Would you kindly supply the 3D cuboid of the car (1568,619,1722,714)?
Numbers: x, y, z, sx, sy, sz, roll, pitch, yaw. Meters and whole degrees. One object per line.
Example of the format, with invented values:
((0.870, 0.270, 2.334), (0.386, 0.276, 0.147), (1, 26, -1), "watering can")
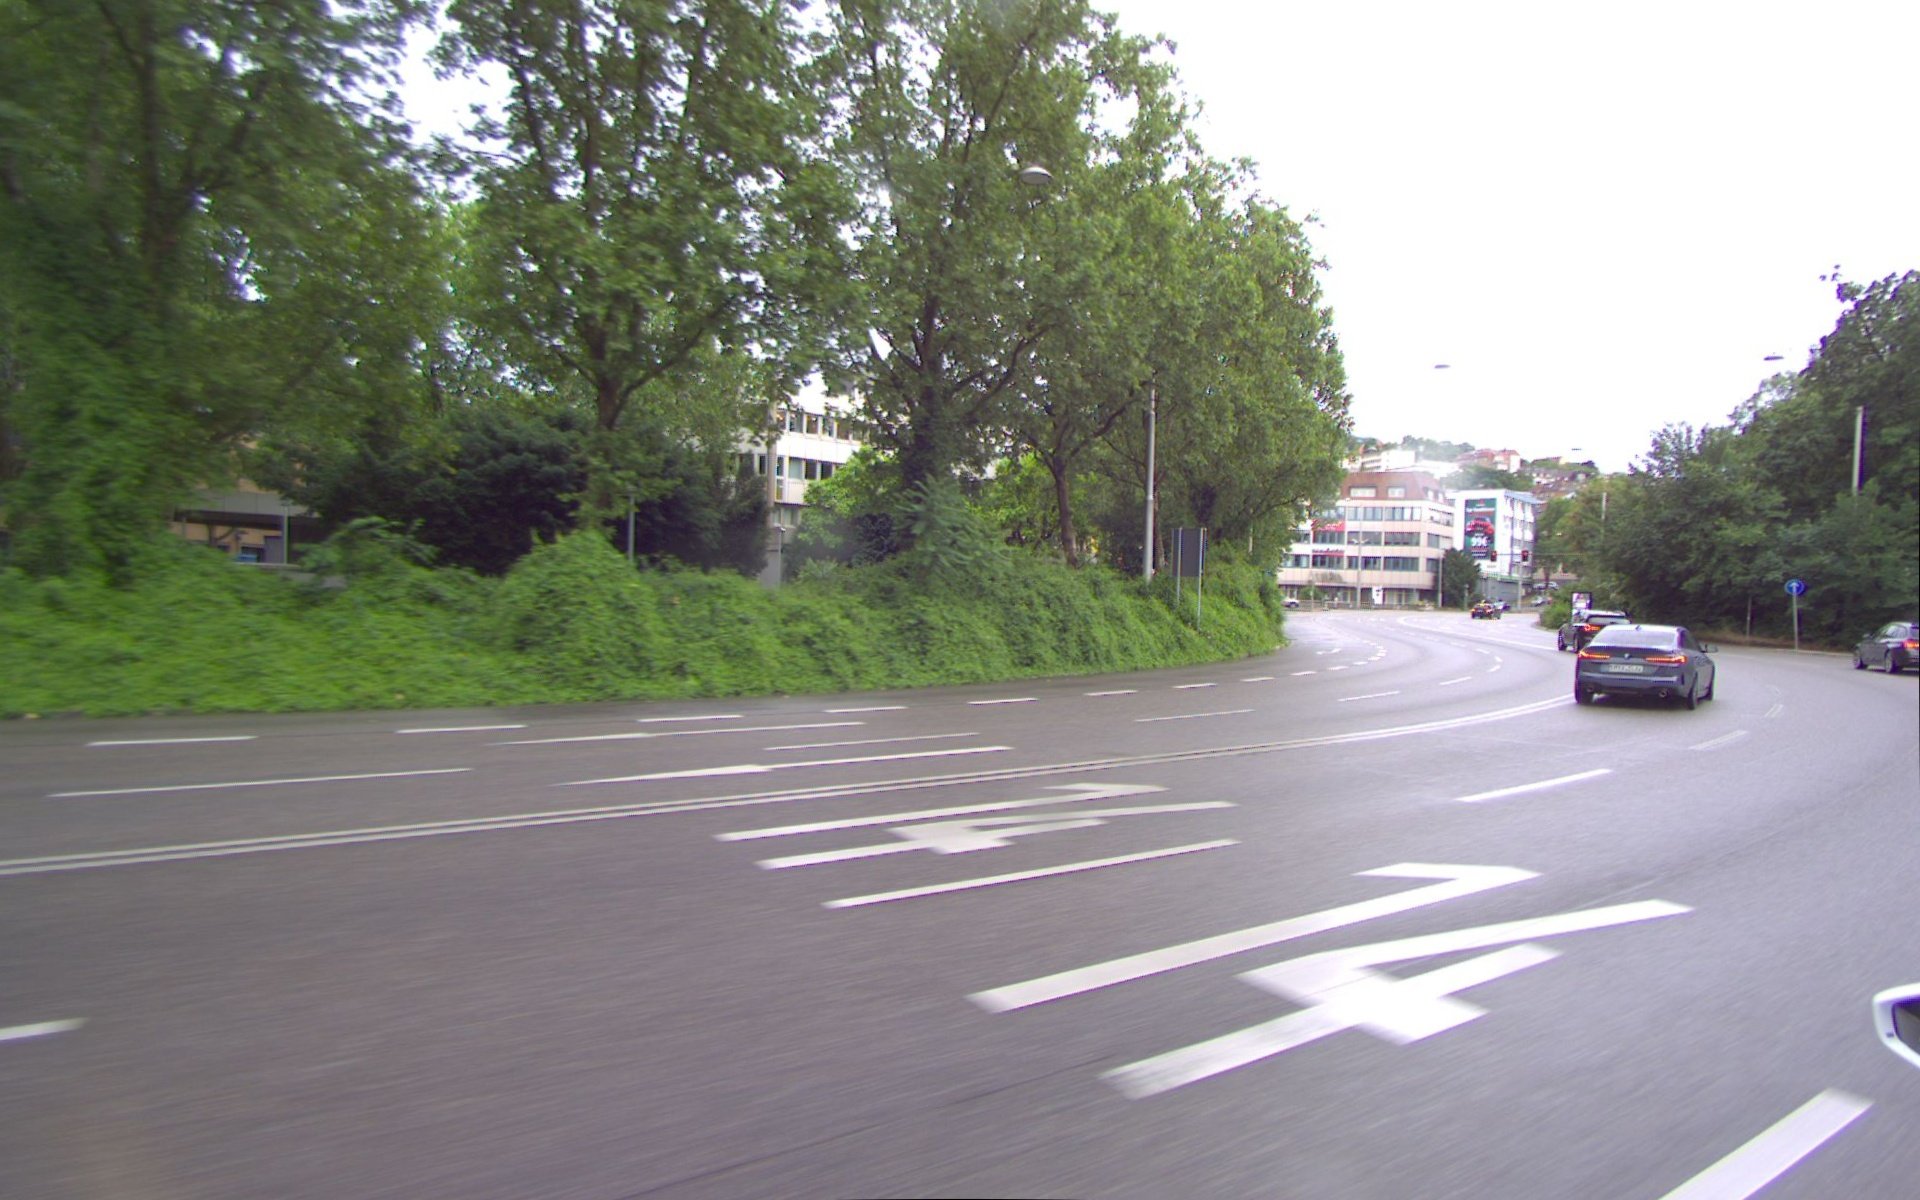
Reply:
((12.848, 1.132, 18.716), (1.647, 1.434, 4.512), (2, 1, 43), "car")

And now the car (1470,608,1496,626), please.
((49.975, 1.626, 95.900), (1.804, 1.673, 3.989), (2, 0, 33), "car")

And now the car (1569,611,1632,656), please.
((24.449, 1.240, 38.271), (1.735, 1.607, 4.396), (0, -1, 37), "car")

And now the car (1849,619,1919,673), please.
((27.397, 1.374, 29.004), (1.732, 1.451, 4.405), (0, -4, 31), "car")
